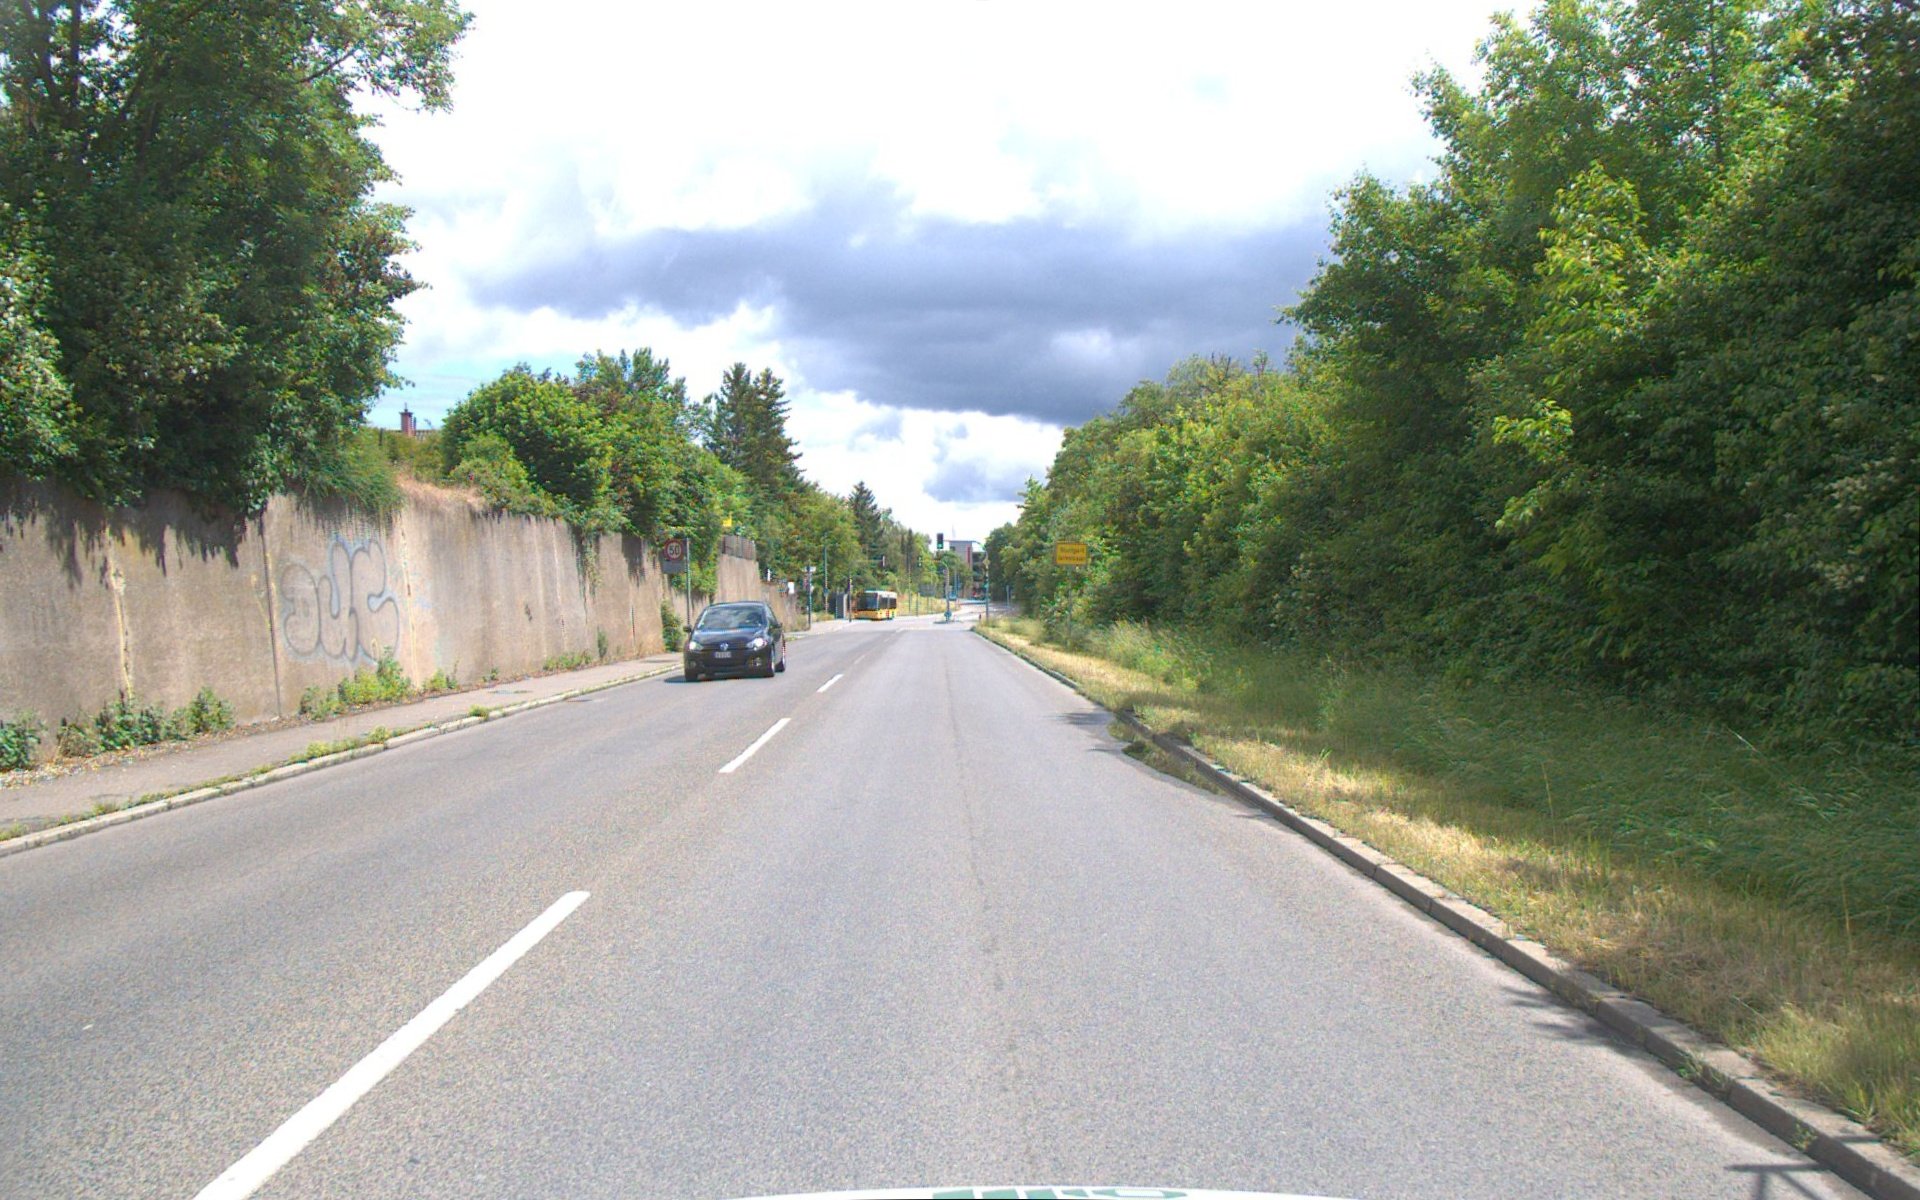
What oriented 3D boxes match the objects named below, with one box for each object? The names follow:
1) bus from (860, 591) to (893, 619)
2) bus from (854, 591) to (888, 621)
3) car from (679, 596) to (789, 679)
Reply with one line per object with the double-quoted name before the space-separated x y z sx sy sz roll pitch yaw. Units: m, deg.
"bus" -9.200 0.510 183.199 2.834 2.949 7.670 1 1 2
"bus" -9.438 0.647 175.466 2.834 2.949 7.670 1 1 2
"car" -4.468 0.703 33.156 1.716 1.489 3.999 -1 0 -2
